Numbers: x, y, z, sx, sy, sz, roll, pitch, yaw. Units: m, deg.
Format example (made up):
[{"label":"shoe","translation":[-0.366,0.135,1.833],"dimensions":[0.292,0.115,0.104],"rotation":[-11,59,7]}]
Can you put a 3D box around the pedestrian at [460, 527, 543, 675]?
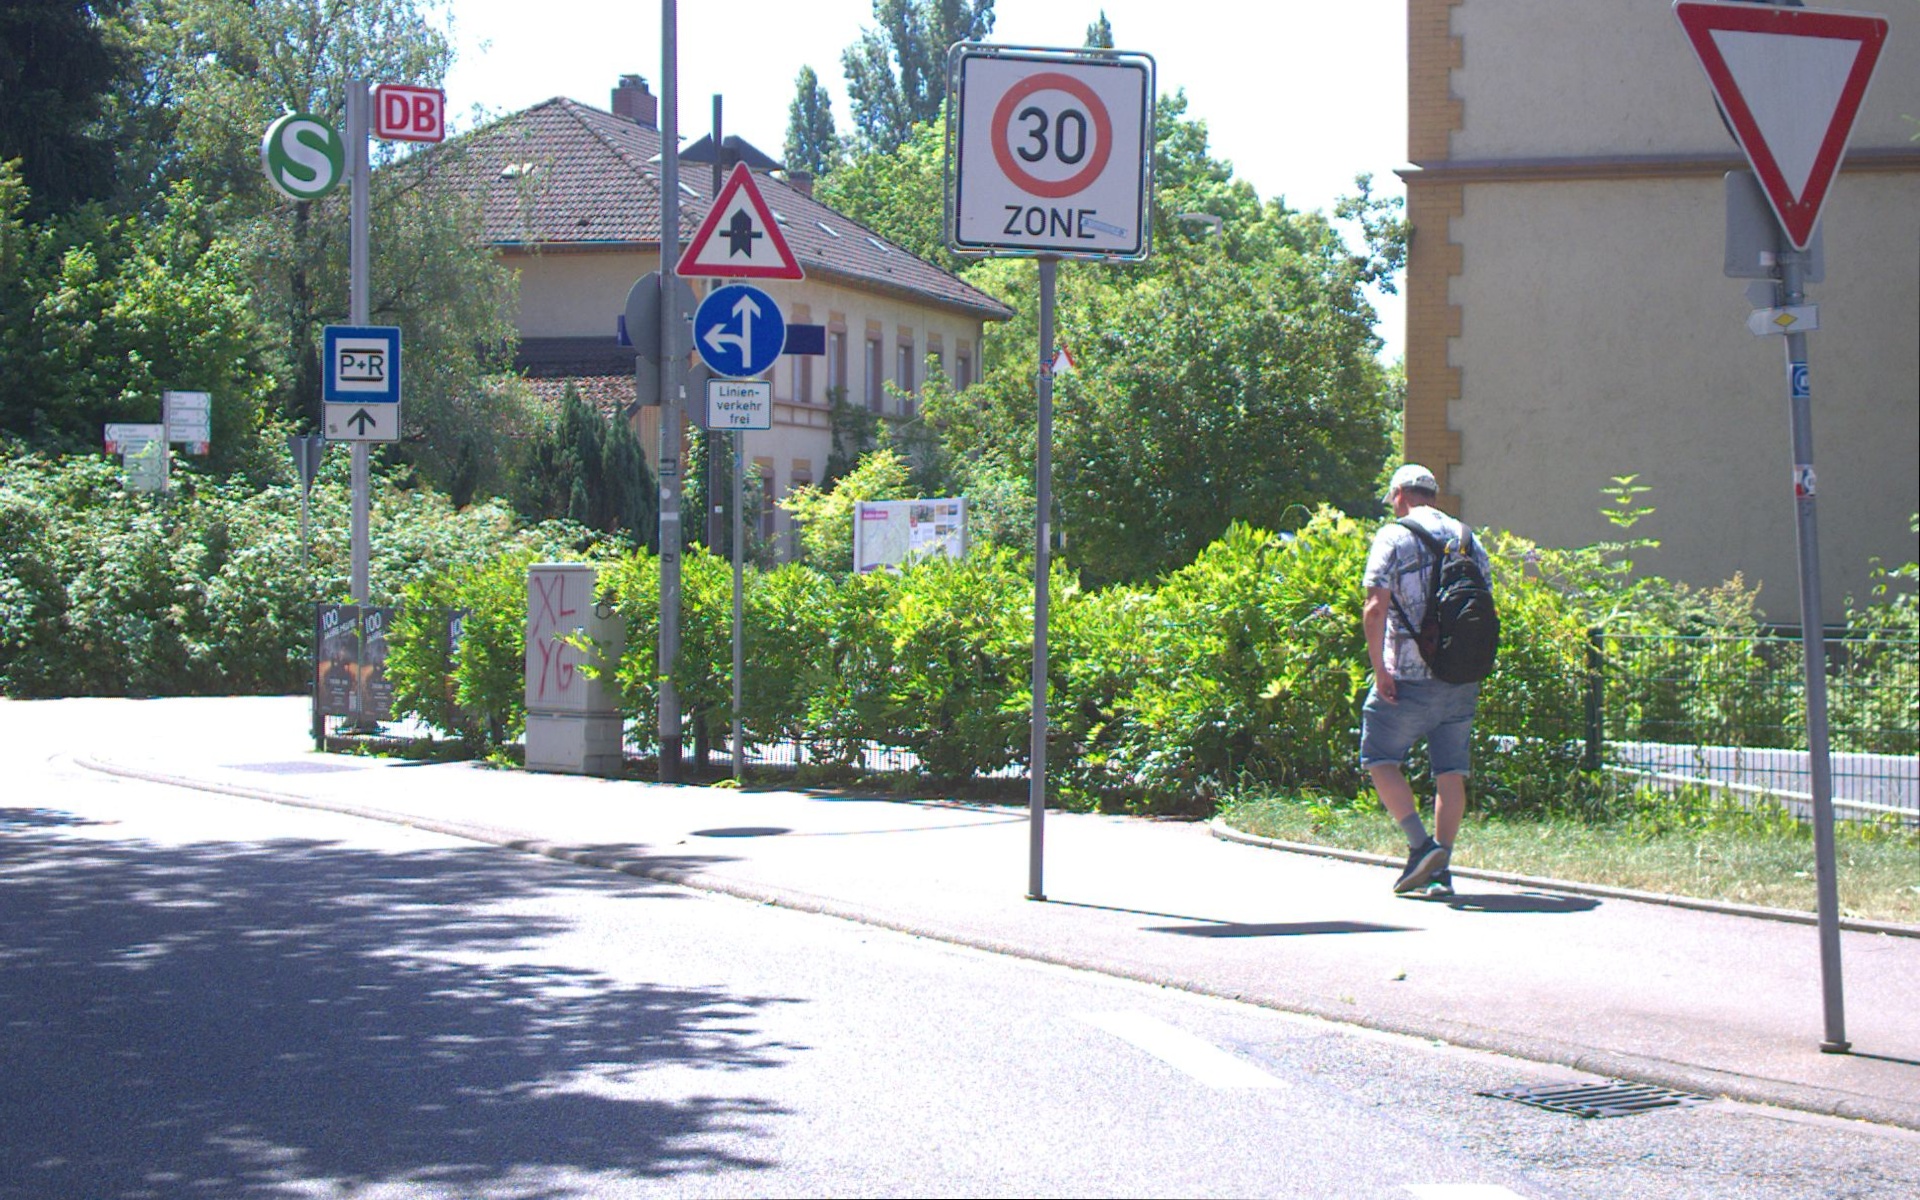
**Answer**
[{"label":"pedestrian","translation":[-5.138,-0.002,38.525],"dimensions":[0.615,1.622,0.700],"rotation":[0,3,-39]}]

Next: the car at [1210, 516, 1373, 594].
[{"label":"car","translation":[9.936,-1.359,103.059],"dimensions":[4.449,2.314,2.200],"rotation":[1,1,21]}]

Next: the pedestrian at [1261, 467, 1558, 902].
[{"label":"pedestrian","translation":[1.891,0.330,14.544],"dimensions":[0.912,1.766,0.915],"rotation":[-1,1,-22]}]
